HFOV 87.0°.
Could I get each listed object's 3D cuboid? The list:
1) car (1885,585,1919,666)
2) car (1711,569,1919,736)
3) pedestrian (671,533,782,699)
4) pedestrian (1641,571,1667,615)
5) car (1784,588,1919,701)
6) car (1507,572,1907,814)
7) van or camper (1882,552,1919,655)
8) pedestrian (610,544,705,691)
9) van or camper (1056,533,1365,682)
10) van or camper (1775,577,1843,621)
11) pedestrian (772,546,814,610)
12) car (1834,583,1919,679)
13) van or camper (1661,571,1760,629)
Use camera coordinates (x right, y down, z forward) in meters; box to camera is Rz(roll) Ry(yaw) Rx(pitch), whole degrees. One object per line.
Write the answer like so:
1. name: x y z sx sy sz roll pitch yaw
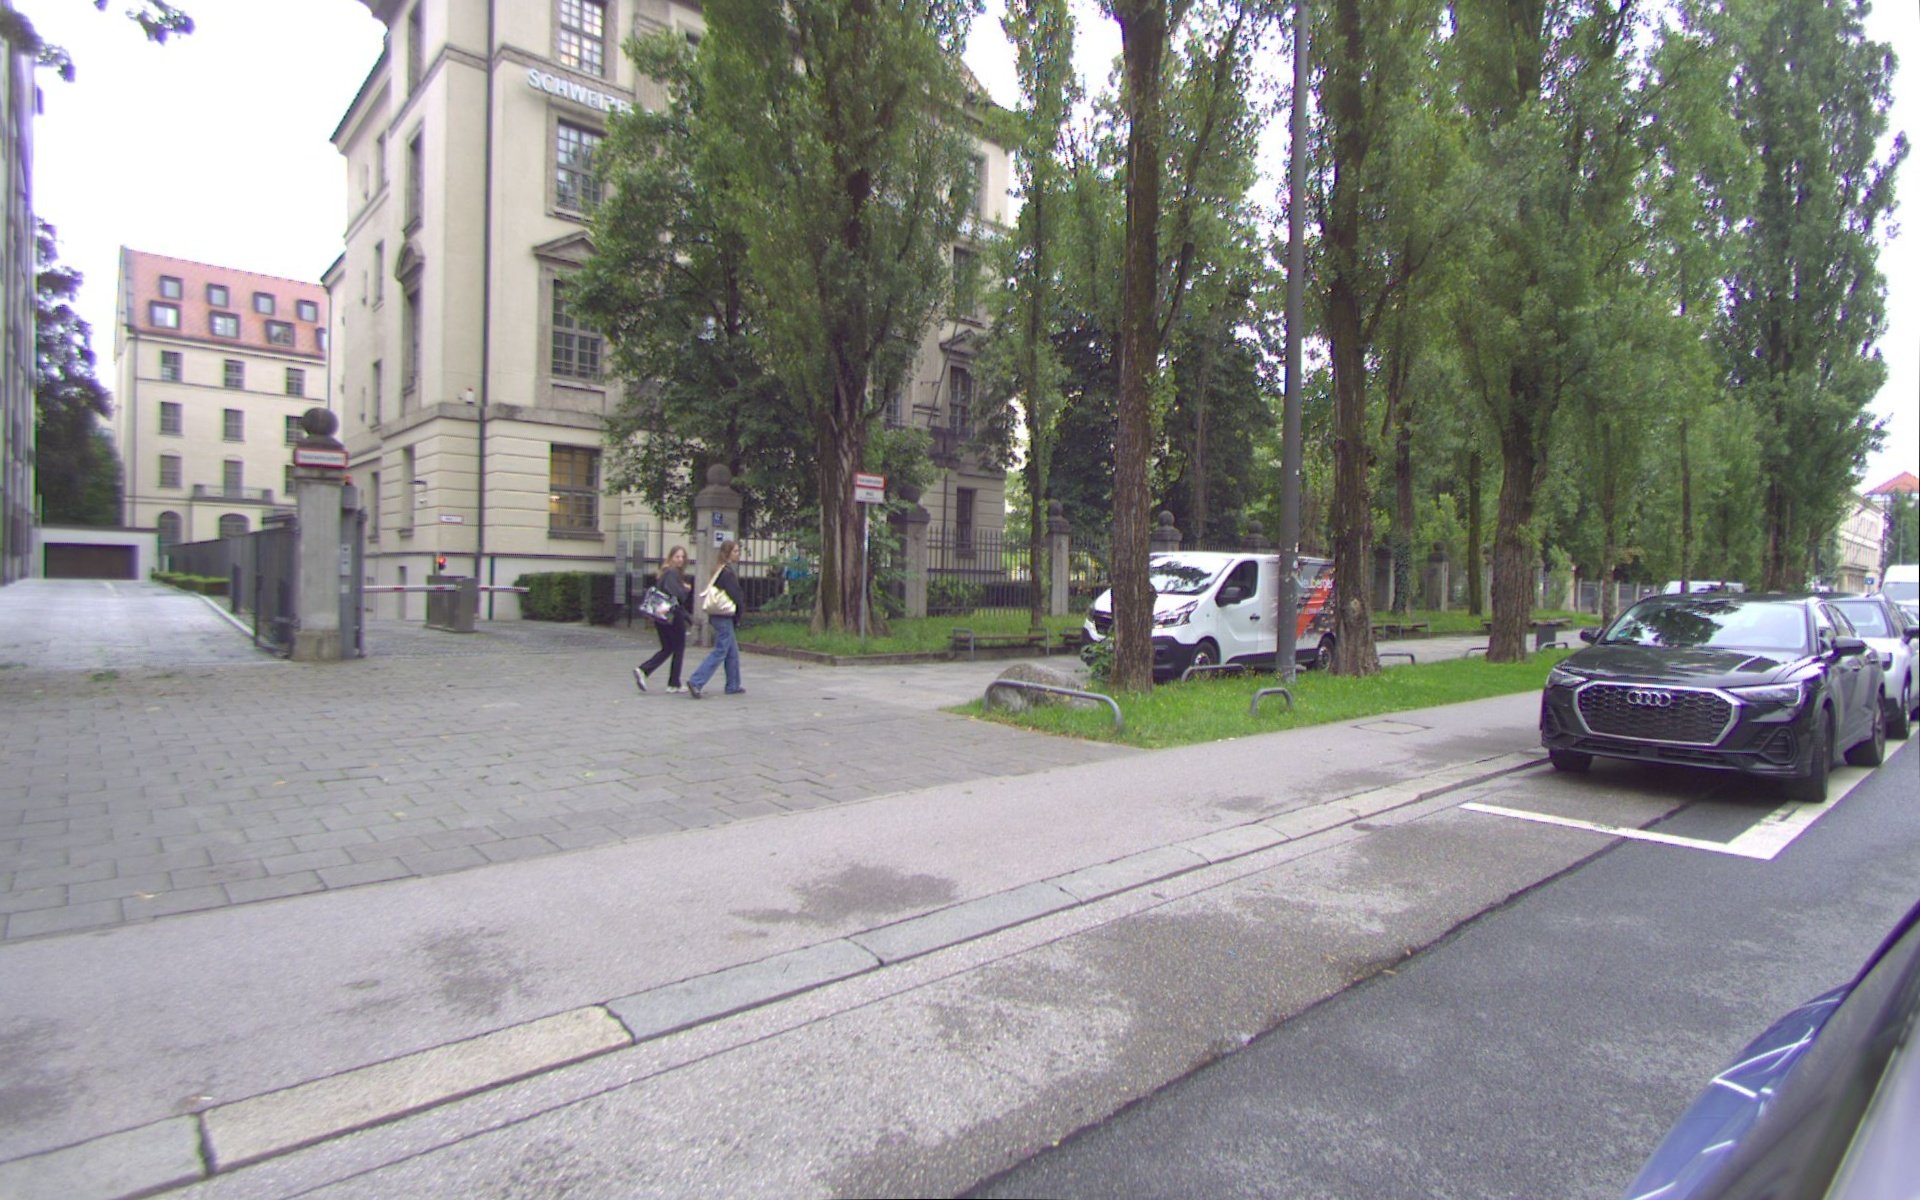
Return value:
1. car: 21.923 0.558 22.438 4.344 1.669 1.786 0 1 -44
2. car: 10.921 0.529 12.519 4.501 1.696 1.745 0 1 -42
3. pedestrian: -2.586 0.152 11.200 0.852 1.738 0.855 0 2 -42
4. pedestrian: 32.798 -0.324 47.822 0.898 2.038 0.946 2 1 33
5. car: 14.433 0.619 15.864 4.221 1.539 1.705 0 1 -42
6. car: 6.609 0.596 8.757 4.386 1.560 1.883 0 1 -41
7. van or camper: 26.551 0.085 27.070 6.306 2.572 2.142 0 1 -42
8. pedestrian: -3.421 0.180 11.453 0.852 1.598 0.568 0 1 -42
9. van or camper: 4.071 0.099 15.841 5.275 1.958 2.080 0 0 -41
10. van or camper: 41.642 -0.060 49.580 4.902 2.039 2.005 0 0 -43
11. pedestrian: -4.762 -0.623 28.768 0.879 1.790 0.797 1 1 -38
12. car: 18.032 0.545 19.060 4.558 1.638 1.787 0 1 -42
13. van or camper: 27.353 -0.010 36.829 4.952 1.958 1.978 0 0 -42
